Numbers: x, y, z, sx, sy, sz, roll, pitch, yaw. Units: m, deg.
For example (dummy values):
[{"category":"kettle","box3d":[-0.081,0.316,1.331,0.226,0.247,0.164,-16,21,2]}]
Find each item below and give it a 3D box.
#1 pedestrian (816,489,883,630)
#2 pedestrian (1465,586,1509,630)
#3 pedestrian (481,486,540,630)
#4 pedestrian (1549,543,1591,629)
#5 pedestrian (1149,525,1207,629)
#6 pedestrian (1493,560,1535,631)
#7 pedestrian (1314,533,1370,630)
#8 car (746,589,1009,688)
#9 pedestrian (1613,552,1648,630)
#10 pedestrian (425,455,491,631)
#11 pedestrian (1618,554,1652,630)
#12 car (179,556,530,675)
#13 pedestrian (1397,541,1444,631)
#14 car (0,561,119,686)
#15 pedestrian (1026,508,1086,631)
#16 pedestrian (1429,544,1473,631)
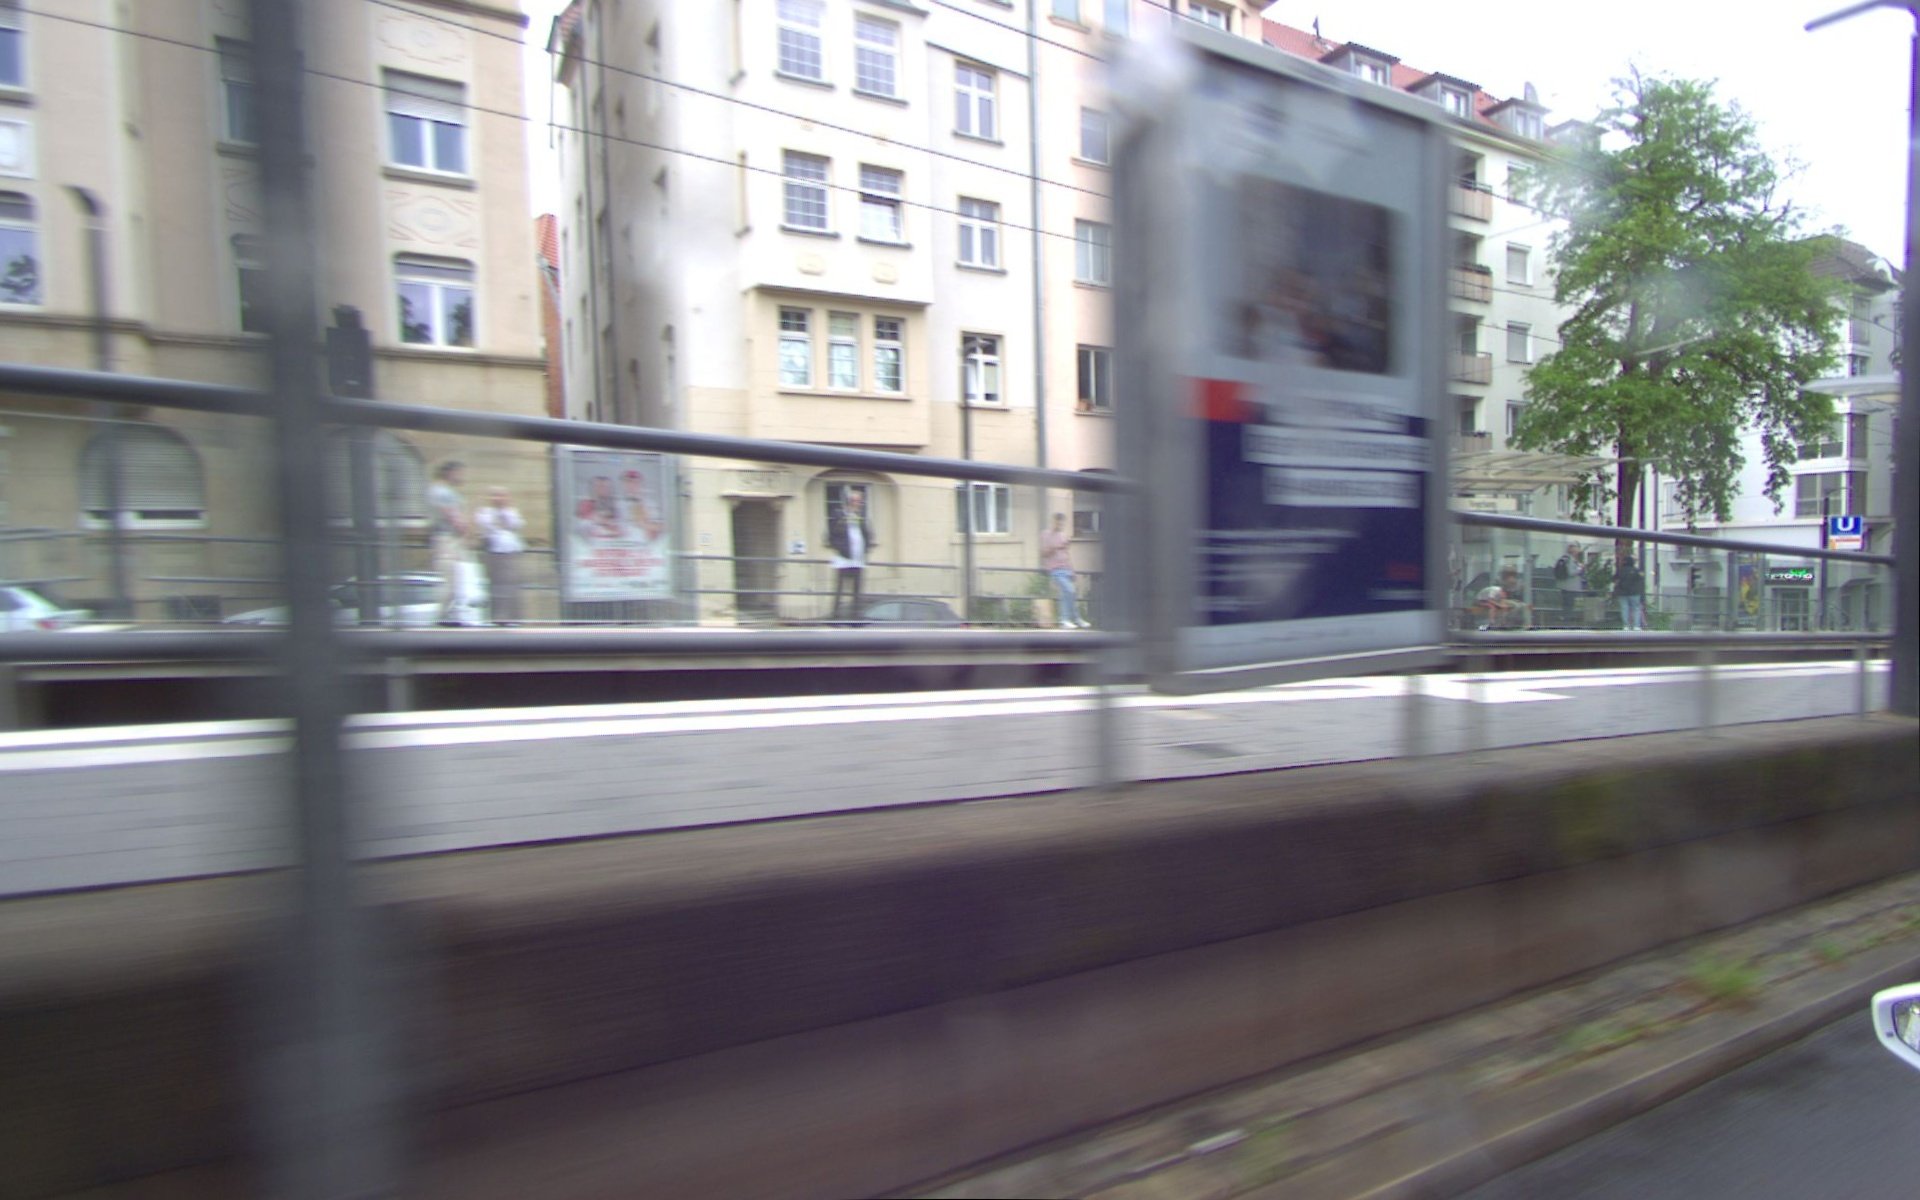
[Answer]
[{"category":"pedestrian","box3d":[-1.509,-0.529,13.748,0.753,1.862,0.513,1,-1,-30]},{"category":"pedestrian","box3d":[10.730,0.171,20.458,0.607,0.883,0.547,1,-1,-30]},{"category":"pedestrian","box3d":[-5.236,-0.463,11.706,0.556,1.626,0.513,1,-1,-30]},{"category":"pedestrian","box3d":[12.814,-0.280,21.097,0.607,1.764,0.547,1,-1,-30]},{"category":"pedestrian","box3d":[3.648,-0.371,16.825,0.753,1.688,0.591,1,-1,-30]},{"category":"pedestrian","box3d":[11.514,-0.084,20.884,0.607,1.432,0.547,1,-1,-30]},{"category":"pedestrian","box3d":[6.853,-0.312,18.024,0.753,1.688,0.591,1,-1,-30]},{"category":"car","box3d":[-1.586,0.753,19.730,4.753,1.755,1.986,2,-1,-28]},{"category":"pedestrian","box3d":[15.532,-0.198,23.275,0.557,1.764,0.480,1,-1,-30]},{"category":"pedestrian","box3d":[-5.551,-0.604,11.105,0.592,1.874,0.558,1,-1,-30]},{"category":"pedestrian","box3d":[15.945,-0.182,23.730,0.557,1.764,0.480,1,-1,-30]},{"category":"car","box3d":[-9.298,0.244,15.847,4.479,1.644,1.915,1,0,-29]},{"category":"pedestrian","box3d":[8.821,-0.260,19.259,0.584,1.688,0.591,1,-1,-30]},{"category":"car","box3d":[-14.161,0.236,13.146,4.479,1.553,1.984,3,2,-30]},{"category":"pedestrian","box3d":[1.485,-0.452,15.560,0.753,1.862,0.513,1,-1,-30]},{"category":"pedestrian","box3d":[9.729,-0.234,19.918,0.607,1.688,0.547,1,-1,-30]}]
